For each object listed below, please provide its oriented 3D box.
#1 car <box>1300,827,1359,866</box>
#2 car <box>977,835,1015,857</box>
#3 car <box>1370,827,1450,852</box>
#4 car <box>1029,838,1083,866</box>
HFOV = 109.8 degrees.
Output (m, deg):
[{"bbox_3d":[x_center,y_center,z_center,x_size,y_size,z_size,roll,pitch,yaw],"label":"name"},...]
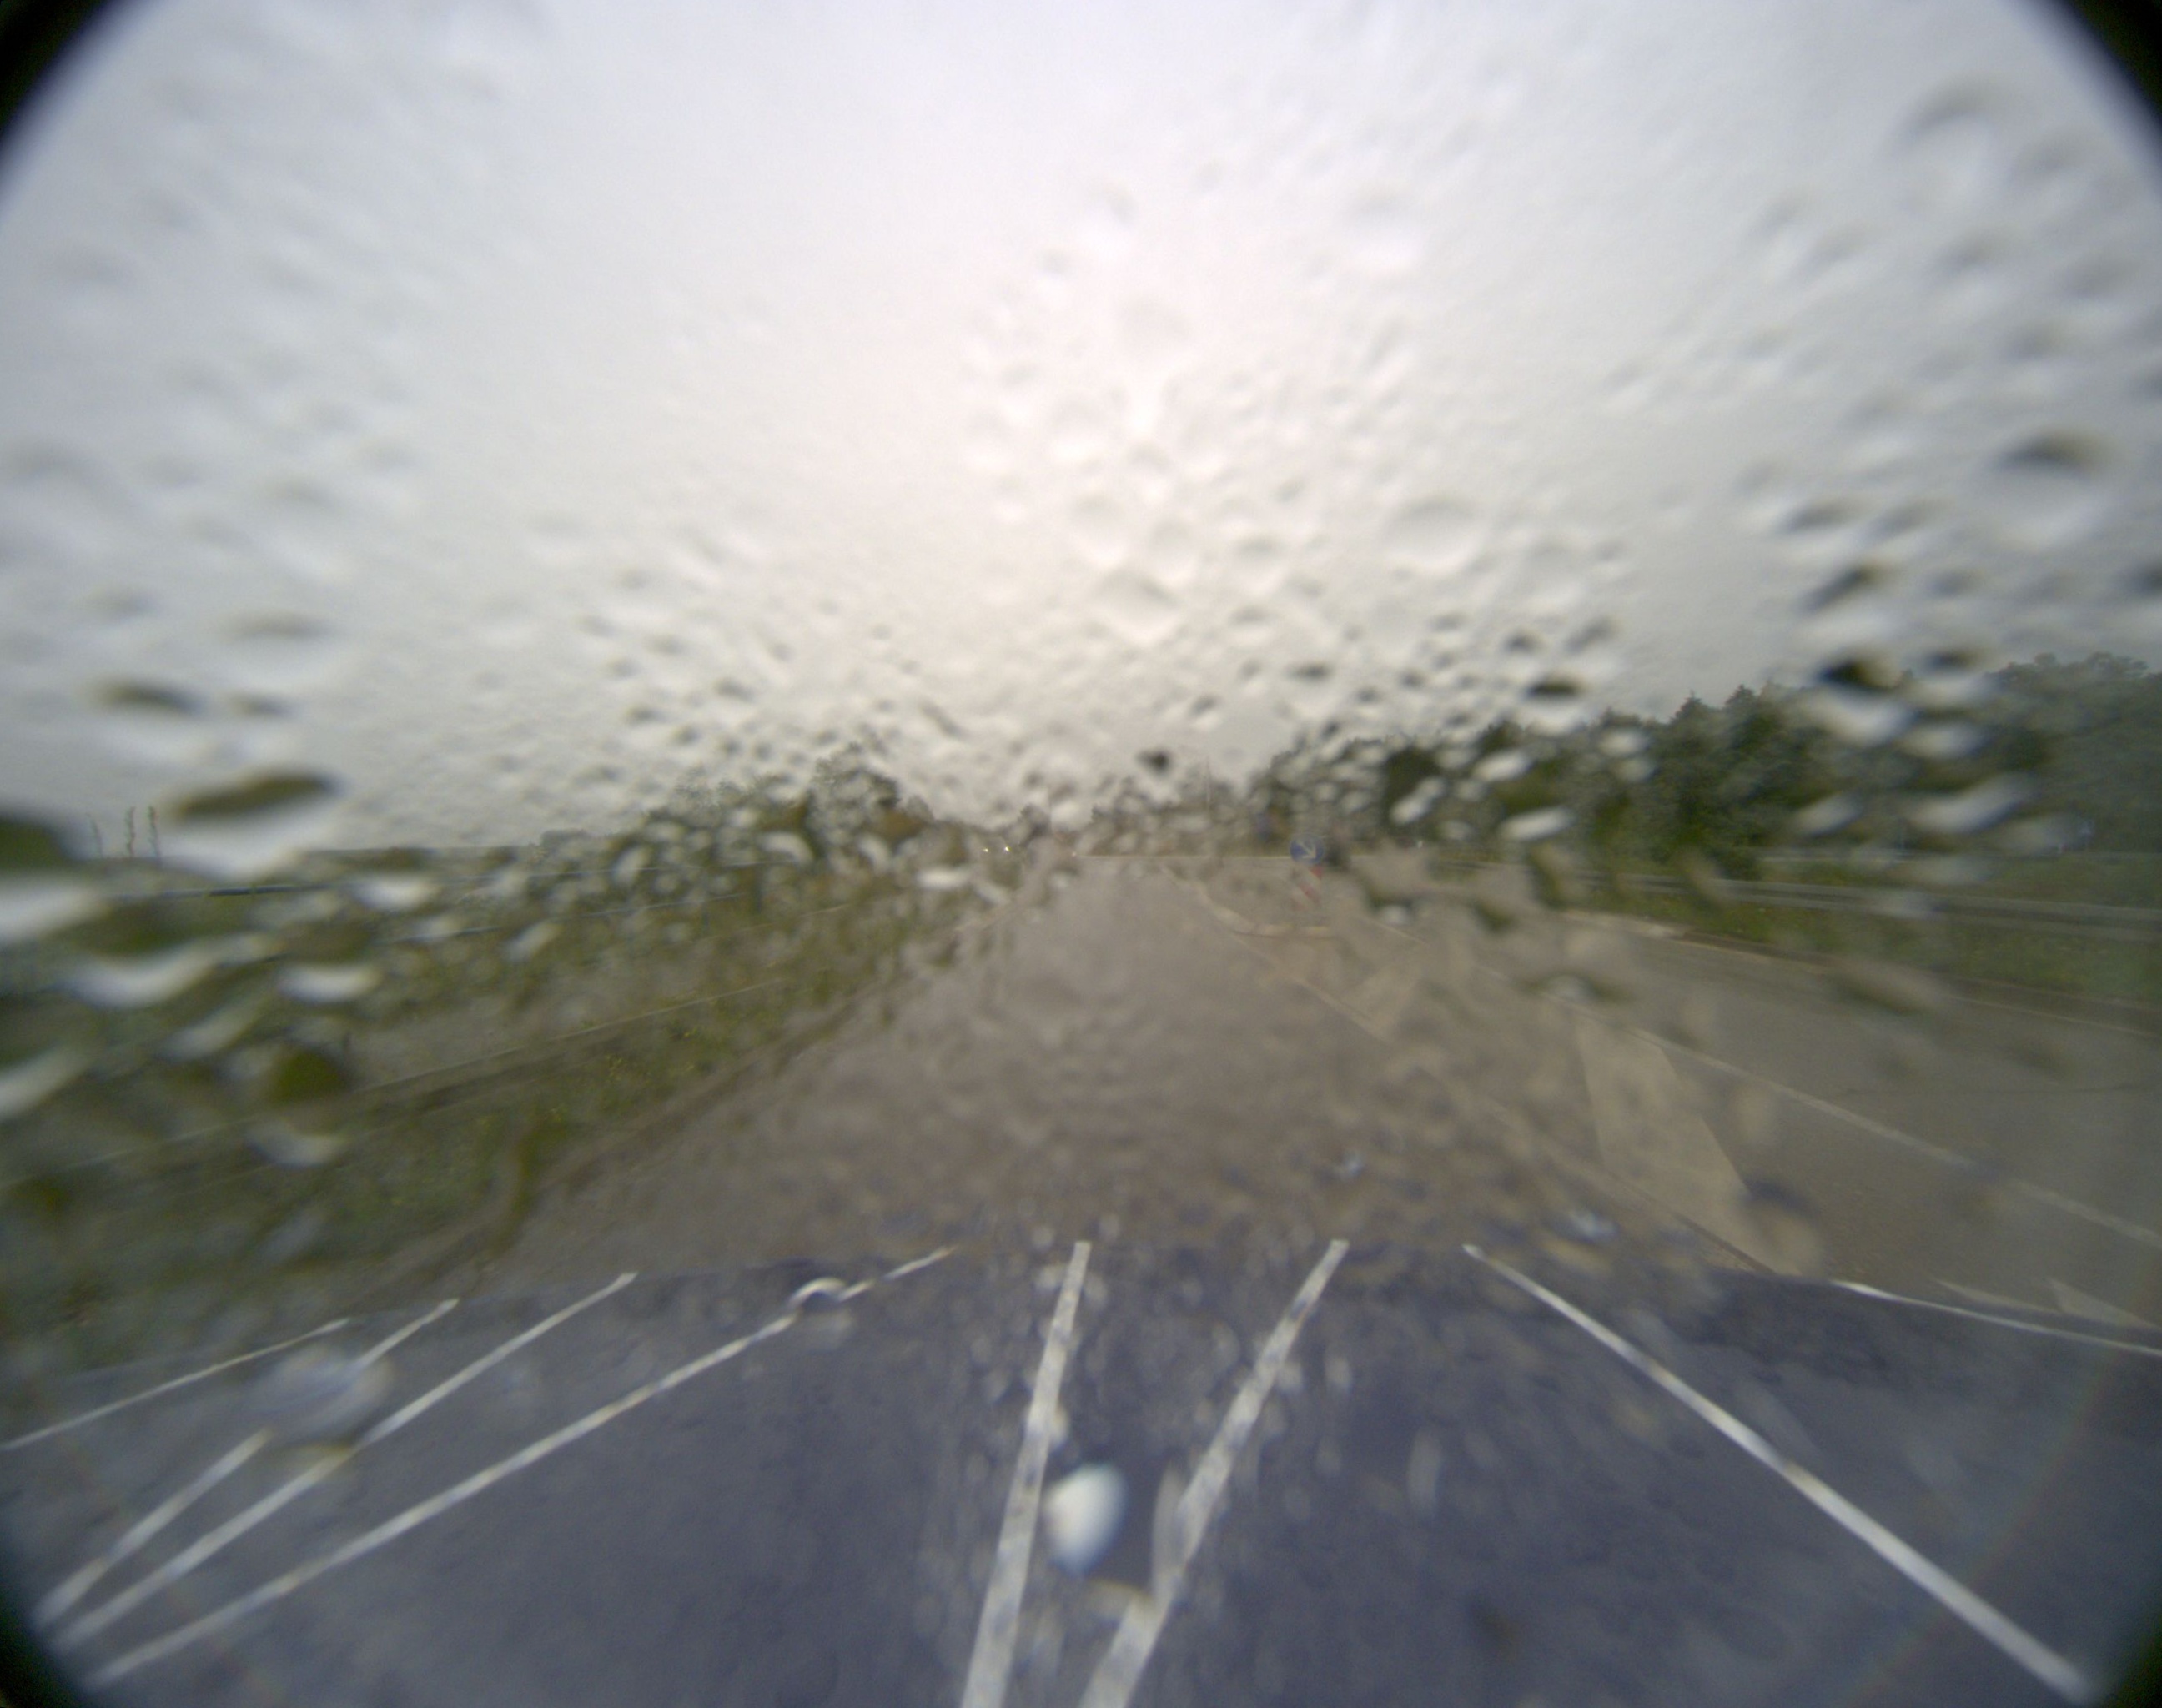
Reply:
[{"bbox_3d":[11.388,-0.394,34.628,1.802,1.566,4.006,-1,3,29],"label":"car"},{"bbox_3d":[-5.812,-0.536,51.464,1.765,1.413,4.496,0,0,-17],"label":"car"},{"bbox_3d":[19.769,-0.854,45.613,4.509,1.413,1.870,-1,1,-24],"label":"car"},{"bbox_3d":[-1.377,-0.122,40.244,1.951,1.363,4.497,0,0,-14],"label":"car"}]
